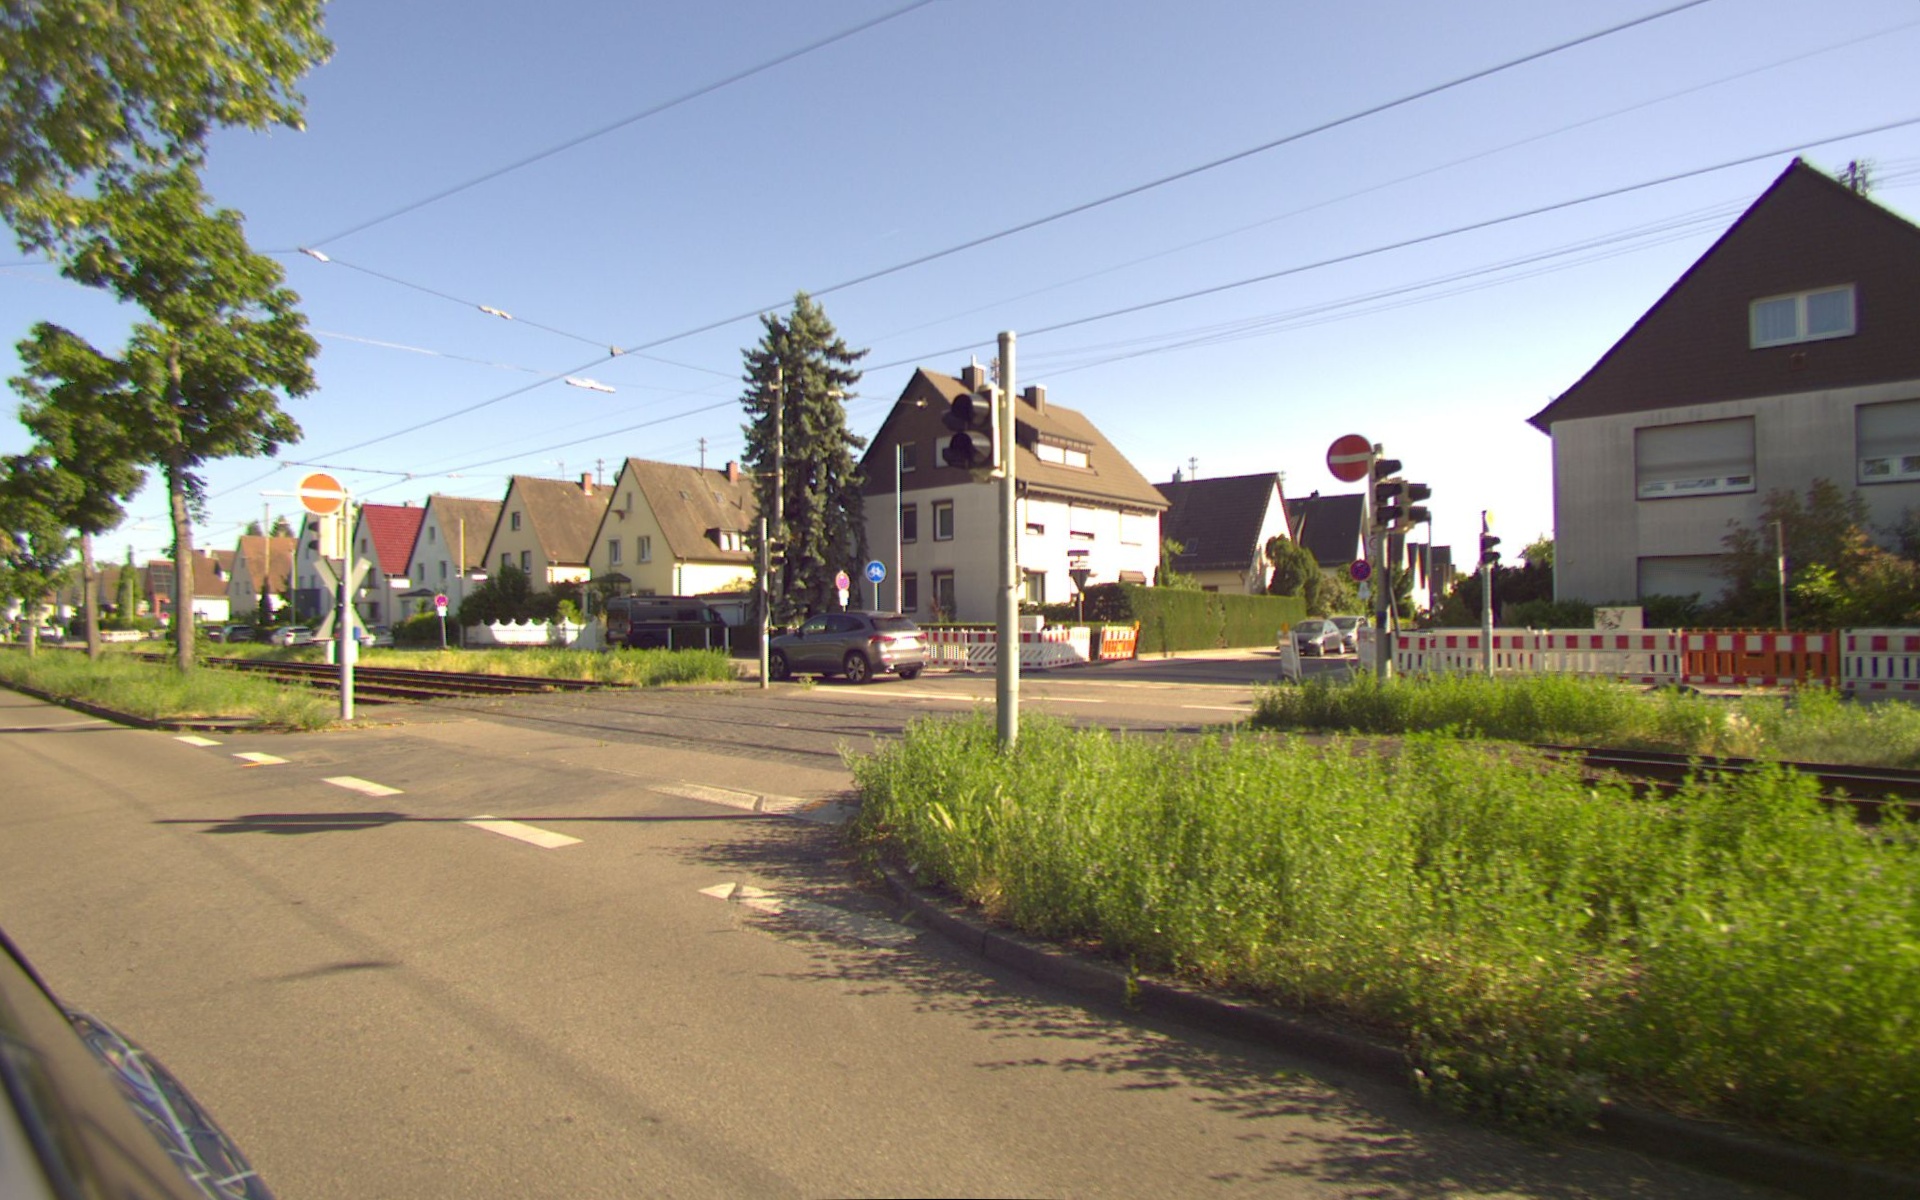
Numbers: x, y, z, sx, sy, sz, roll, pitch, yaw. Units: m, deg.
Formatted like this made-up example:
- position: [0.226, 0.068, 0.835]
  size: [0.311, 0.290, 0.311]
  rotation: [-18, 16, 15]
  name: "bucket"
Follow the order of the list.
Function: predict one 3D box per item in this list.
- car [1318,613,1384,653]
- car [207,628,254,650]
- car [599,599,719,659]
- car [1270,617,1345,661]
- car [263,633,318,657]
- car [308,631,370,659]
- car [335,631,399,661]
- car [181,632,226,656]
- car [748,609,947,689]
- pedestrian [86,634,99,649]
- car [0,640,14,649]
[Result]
- position: [17.132, 1.434, 44.262]
  size: [1.740, 1.561, 3.952]
  rotation: [-2, 0, 36]
  name: "car"
- position: [-54.071, 2.902, 75.020]
  size: [4.254, 1.506, 1.906]
  rotation: [-2, 0, 41]
  name: "car"
- position: [-13.902, 1.328, 46.997]
  size: [2.101, 2.645, 4.976]
  rotation: [-3, -2, 41]
  name: "car"
- position: [13.975, 1.516, 40.569]
  size: [1.740, 1.561, 3.952]
  rotation: [-2, 0, 36]
  name: "car"
- position: [-43.610, 2.901, 65.870]
  size: [4.410, 1.437, 1.972]
  rotation: [-2, 0, 43]
  name: "car"
- position: [-36.749, 2.634, 59.850]
  size: [4.126, 1.460, 1.973]
  rotation: [-2, 2, 41]
  name: "car"
- position: [-33.164, 2.542, 56.565]
  size: [4.055, 1.565, 1.926]
  rotation: [-2, 0, 41]
  name: "car"
- position: [-60.514, 3.504, 80.945]
  size: [4.389, 1.726, 1.973]
  rotation: [-2, 0, 41]
  name: "car"
- position: [-2.638, 1.068, 23.076]
  size: [4.471, 1.615, 1.973]
  rotation: [-2, 0, 41]
  name: "car"
- position: [-95.744, 4.577, 111.692]
  size: [0.791, 1.546, 0.805]
  rotation: [-4, -3, 31]
  name: "pedestrian"
- position: [-156.728, 7.296, 166.095]
  size: [3.754, 1.501, 1.716]
  rotation: [-2, 0, 42]
  name: "car"
